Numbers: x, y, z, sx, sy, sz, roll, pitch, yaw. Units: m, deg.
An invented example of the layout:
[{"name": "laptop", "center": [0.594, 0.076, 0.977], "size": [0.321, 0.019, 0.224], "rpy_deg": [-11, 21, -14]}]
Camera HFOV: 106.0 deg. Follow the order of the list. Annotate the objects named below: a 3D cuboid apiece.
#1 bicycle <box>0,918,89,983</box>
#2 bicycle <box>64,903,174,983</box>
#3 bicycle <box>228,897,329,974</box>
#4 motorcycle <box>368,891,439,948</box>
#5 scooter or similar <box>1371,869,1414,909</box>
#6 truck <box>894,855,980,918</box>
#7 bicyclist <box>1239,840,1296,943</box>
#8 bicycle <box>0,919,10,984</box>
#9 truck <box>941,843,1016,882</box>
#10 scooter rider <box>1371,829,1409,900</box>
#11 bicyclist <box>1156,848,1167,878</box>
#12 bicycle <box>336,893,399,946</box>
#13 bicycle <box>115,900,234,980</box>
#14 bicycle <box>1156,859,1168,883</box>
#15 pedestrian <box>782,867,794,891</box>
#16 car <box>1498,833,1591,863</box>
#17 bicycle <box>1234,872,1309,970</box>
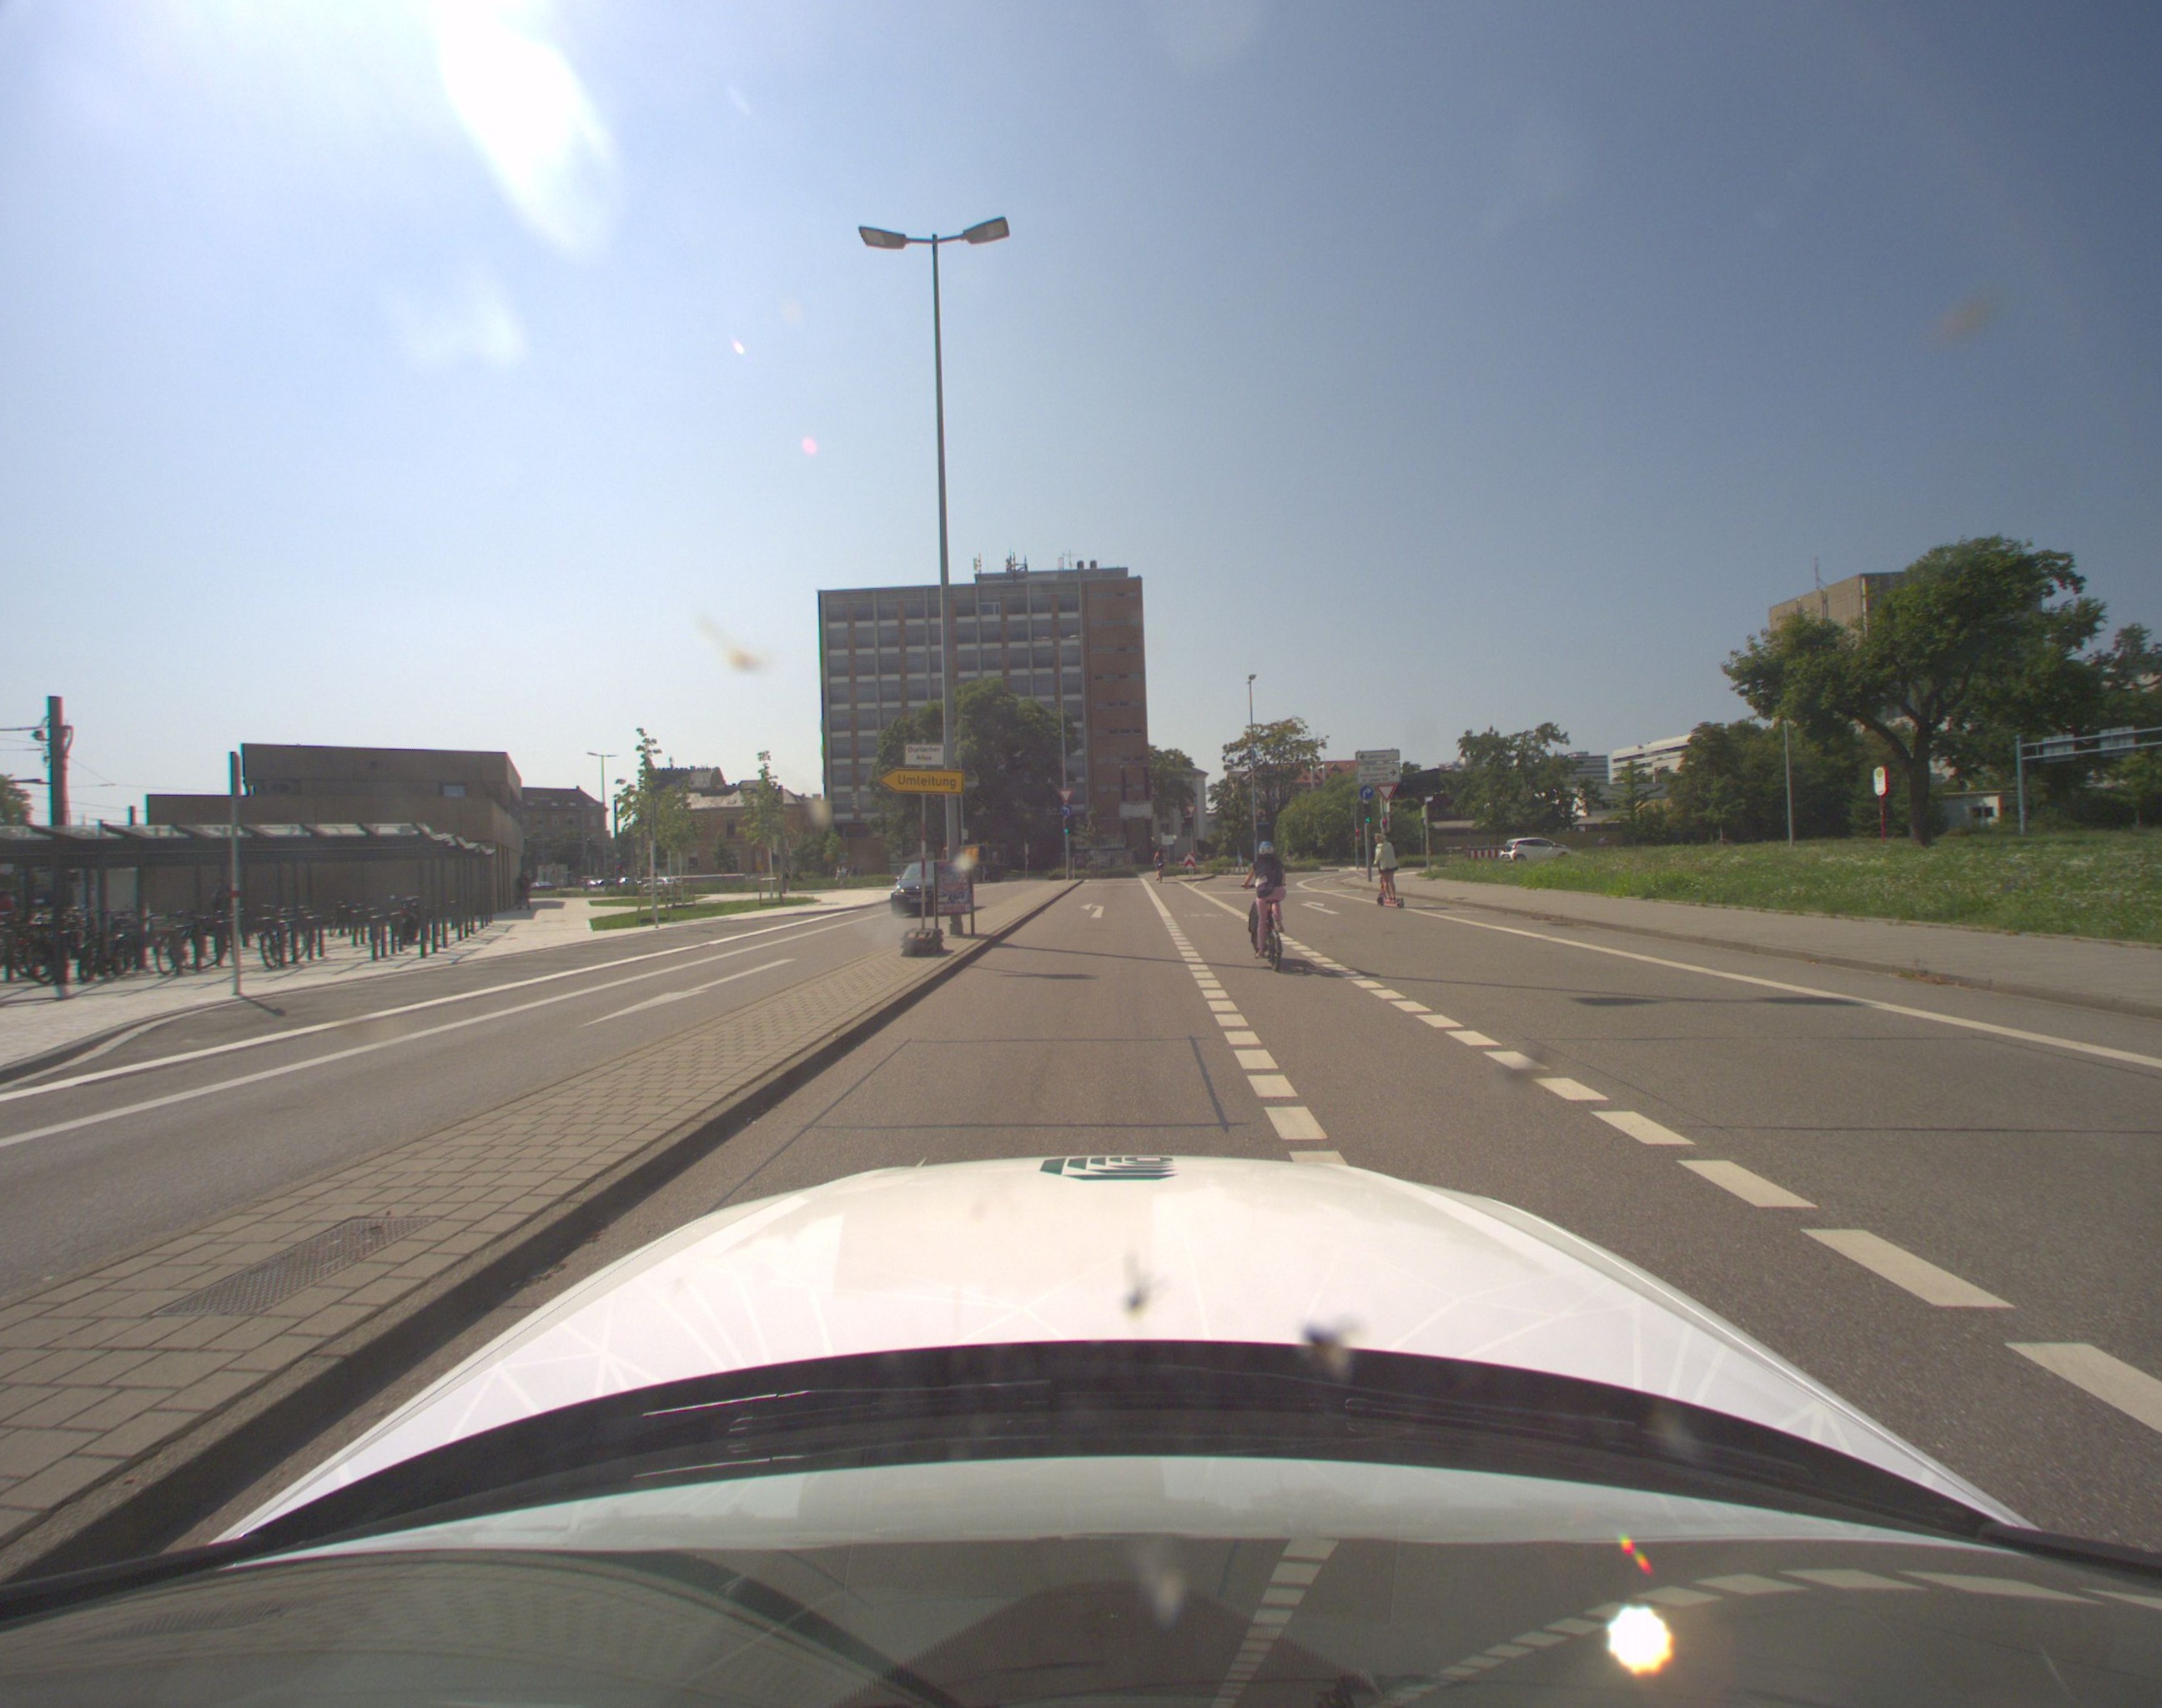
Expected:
[{"name": "bicycle", "center": [-18.731, 1.711, 14.692], "size": [0.467, 1.003, 1.743], "rpy_deg": [-1, -1, -30]}, {"name": "bicycle", "center": [-16.505, 1.489, 14.017], "size": [0.541, 1.210, 1.600], "rpy_deg": [-2, 0, -23]}, {"name": "bicycle", "center": [-14.555, 1.437, 14.835], "size": [0.606, 1.210, 1.797], "rpy_deg": [-2, 0, -21]}, {"name": "motorcycle", "center": [-16.580, 1.562, 19.986], "size": [0.606, 1.210, 2.237], "rpy_deg": [-2, 0, -21]}, {"name": "scooter or similar", "center": [7.928, 0.882, 20.798], "size": [0.767, 0.926, 1.625], "rpy_deg": [-2, 0, 12]}, {"name": "truck", "center": [-3.873, 0.832, 22.429], "size": [1.549, 1.504, 3.622], "rpy_deg": [-3, 0, 2]}, {"name": "bicyclist", "center": [2.524, 0.489, 11.046], "size": [0.600, 1.335, 0.660], "rpy_deg": [-2, 0, 2]}, {"name": "bicycle", "center": [-17.804, 1.607, 12.852], "size": [0.467, 1.063, 1.677], "rpy_deg": [-1, -1, -30]}, {"name": "truck", "center": [-8.358, 0.689, 66.057], "size": [5.889, 2.990, 2.722], "rpy_deg": [-2, -1, 41]}, {"name": "scooter rider", "center": [7.928, 0.279, 20.920], "size": [0.757, 1.775, 0.557], "rpy_deg": [-2, 0, 11]}, {"name": "bicyclist", "center": [3.820, 0.416, 38.781], "size": [0.448, 1.421, 0.496], "rpy_deg": [-3, 0, 2]}, {"name": "bicycle", "center": [-18.499, 1.669, 21.155], "size": [0.606, 1.210, 1.797], "rpy_deg": [-2, 0, -21]}, {"name": "bicycle", "center": [-15.885, 1.473, 14.331], "size": [0.606, 1.210, 1.797], "rpy_deg": [-2, 0, -21]}, {"name": "bicycle", "center": [3.826, 0.801, 38.563], "size": [0.442, 1.116, 1.447], "rpy_deg": [-3, 0, 2]}, {"name": "pedestrian", "center": [-18.674, 1.593, 51.914], "size": [0.534, 1.552, 0.412], "rpy_deg": [-2, 0, -43]}, {"name": "car", "center": [25.073, -0.324, 44.176], "size": [3.966, 1.391, 1.852], "rpy_deg": [-2, 0, 6]}, {"name": "bicycle", "center": [2.555, 0.862, 11.088], "size": [0.602, 1.163, 1.811], "rpy_deg": [-2, 0, 1]}]
